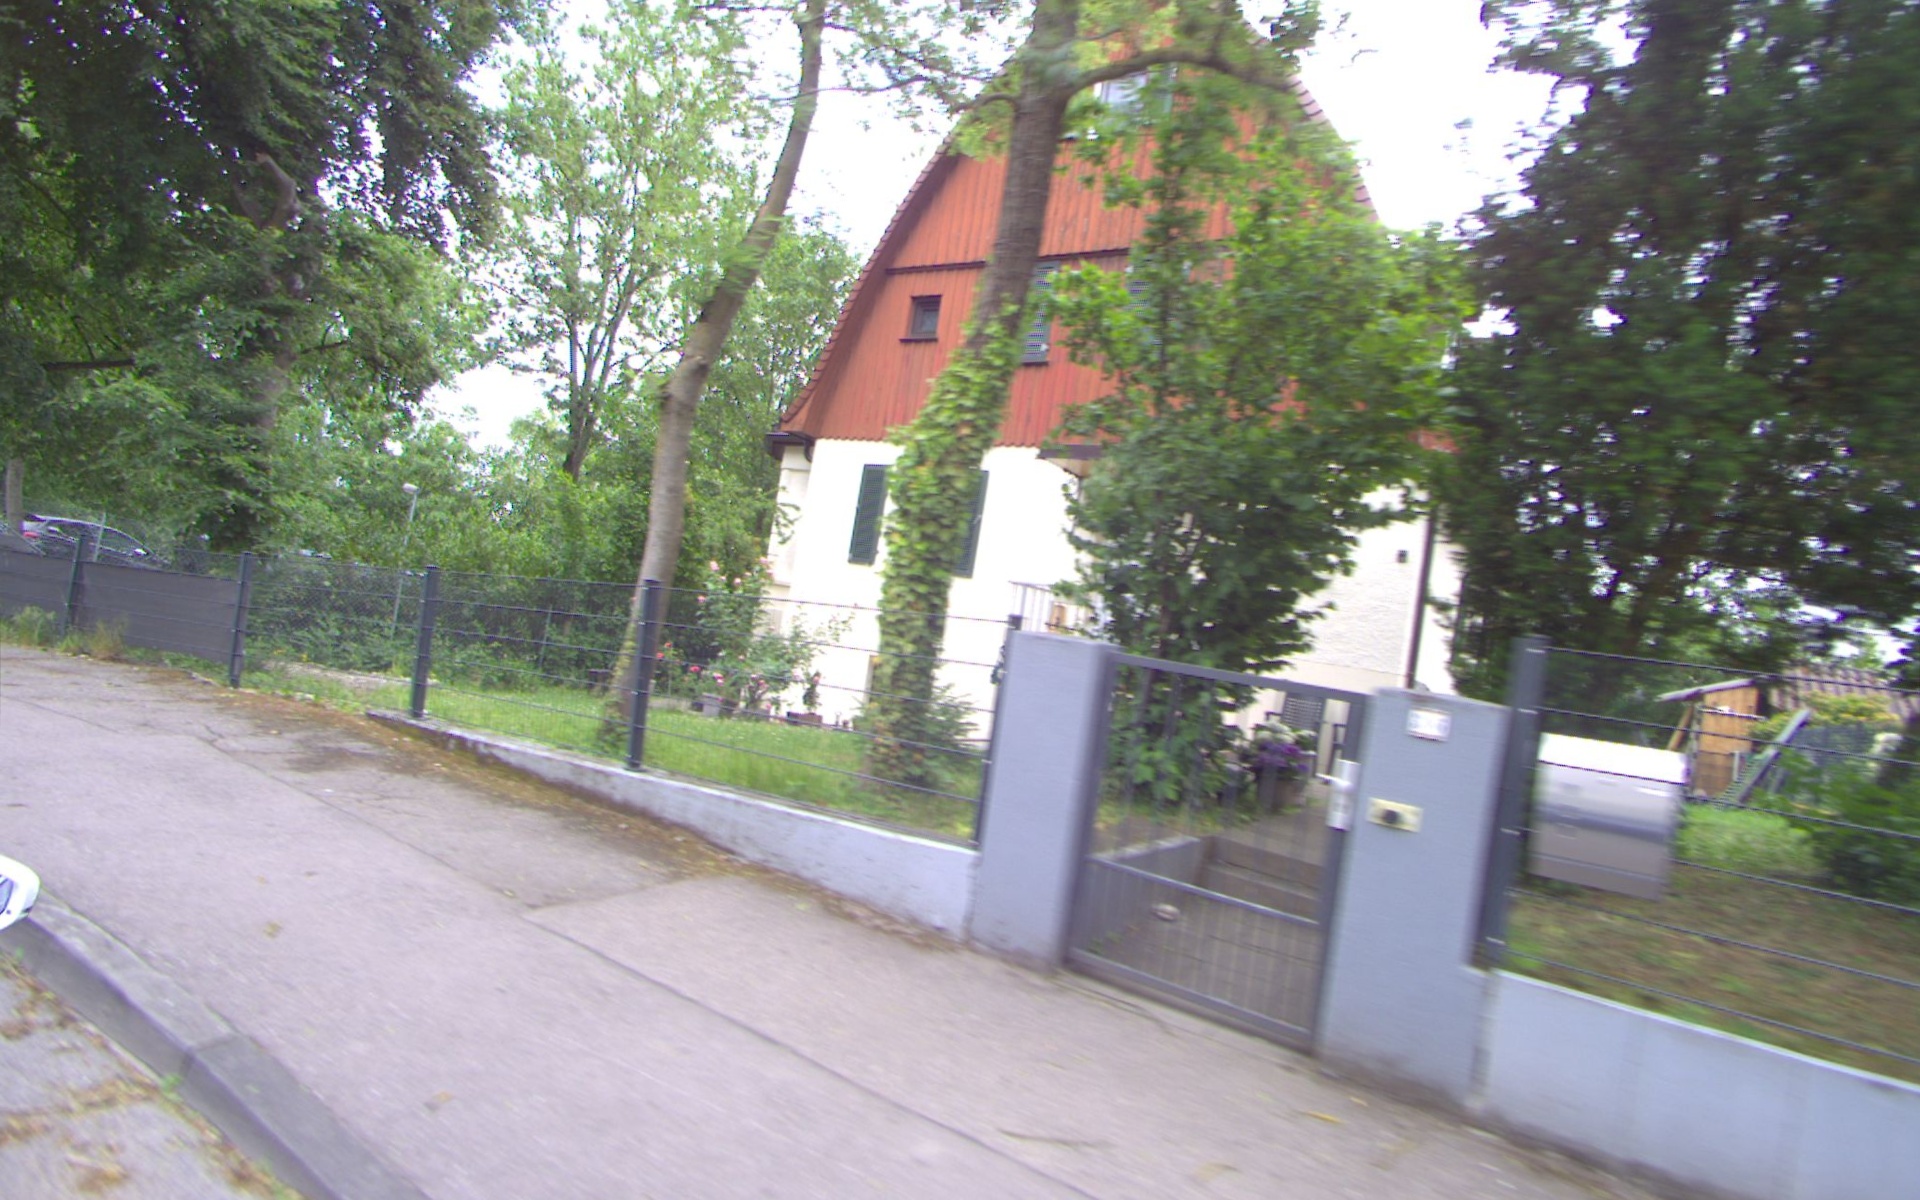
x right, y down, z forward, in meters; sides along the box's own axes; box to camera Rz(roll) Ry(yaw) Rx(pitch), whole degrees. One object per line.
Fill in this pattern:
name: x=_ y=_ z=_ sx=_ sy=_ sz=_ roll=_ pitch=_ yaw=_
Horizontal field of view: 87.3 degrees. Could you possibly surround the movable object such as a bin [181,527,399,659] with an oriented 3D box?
movable object such as a bin: x=-11.347 y=-0.088 z=17.108 sx=2.169 sy=1.808 sz=2.110 roll=7 pitch=-1 yaw=26
